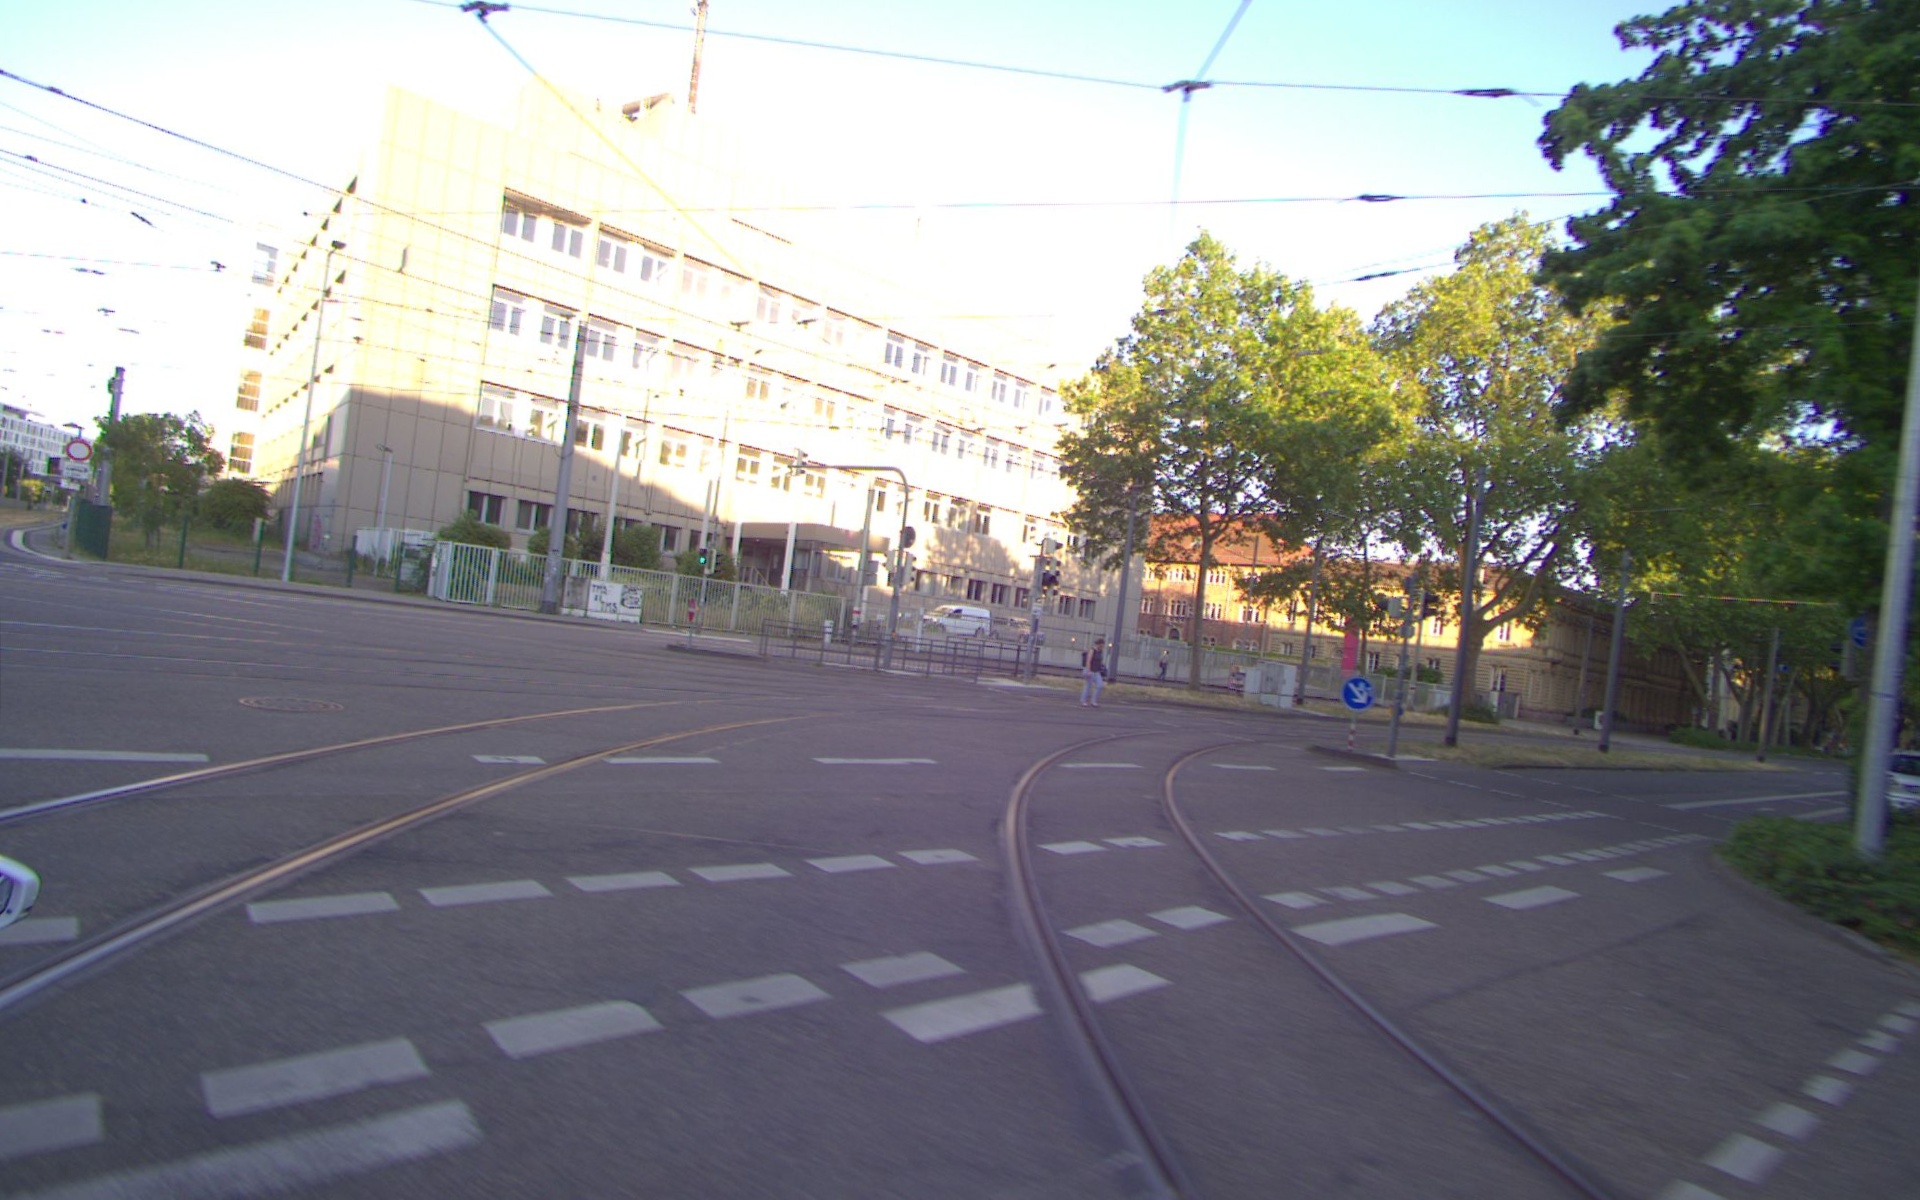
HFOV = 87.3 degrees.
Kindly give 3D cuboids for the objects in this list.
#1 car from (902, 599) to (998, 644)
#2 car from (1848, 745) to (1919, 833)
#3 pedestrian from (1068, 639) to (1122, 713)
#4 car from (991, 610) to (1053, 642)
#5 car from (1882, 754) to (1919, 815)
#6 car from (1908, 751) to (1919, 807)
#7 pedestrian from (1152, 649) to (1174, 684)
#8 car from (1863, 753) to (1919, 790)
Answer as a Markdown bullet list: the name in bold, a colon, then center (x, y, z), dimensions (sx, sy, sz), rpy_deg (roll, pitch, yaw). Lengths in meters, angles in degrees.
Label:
- **car**: center (-0.539, 1.233, 57.685), dimensions (5.058, 1.896, 2.250), rpy_deg (8, -1, -40)
- **car**: center (20.065, 3.966, 20.877), dimensions (3.973, 1.569, 1.895), rpy_deg (9, -3, -41)
- **pedestrian**: center (3.257, 1.832, 24.298), dimensions (0.819, 1.635, 0.752), rpy_deg (7, -1, 45)
- **car**: center (4.134, 1.735, 67.605), dimensions (1.819, 1.633, 3.959), rpy_deg (9, -2, -37)
- **car**: center (24.816, 4.732, 25.311), dimensions (3.973, 1.380, 1.895), rpy_deg (9, -3, -41)
- **car**: center (29.291, 5.365, 29.384), dimensions (3.973, 1.569, 1.895), rpy_deg (9, -3, -41)
- **pedestrian**: center (10.570, 3.454, 52.370), dimensions (0.868, 1.698, 1.063), rpy_deg (7, 0, 7)
- **car**: center (52.453, 9.628, 56.457), dimensions (3.971, 1.665, 1.978), rpy_deg (9, -2, -40)
